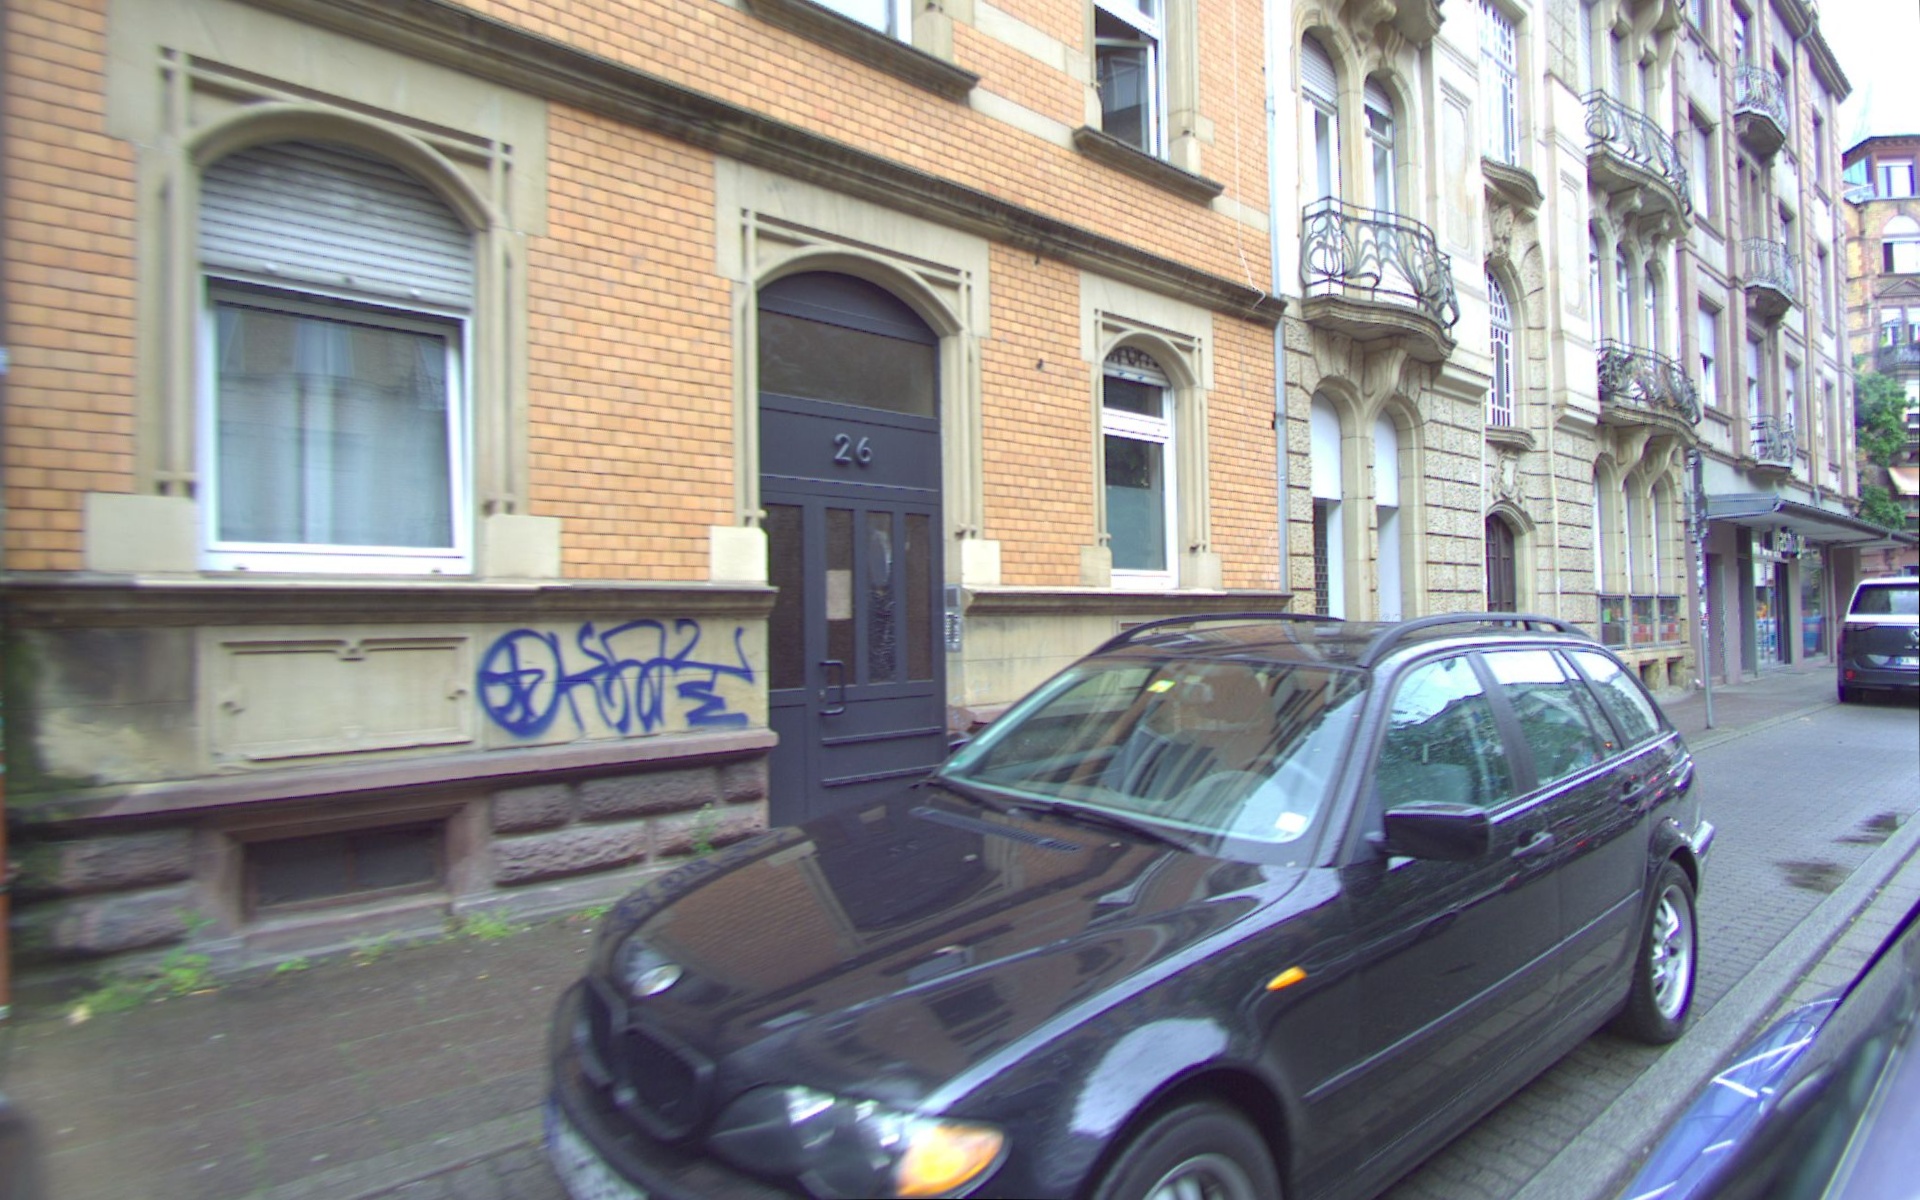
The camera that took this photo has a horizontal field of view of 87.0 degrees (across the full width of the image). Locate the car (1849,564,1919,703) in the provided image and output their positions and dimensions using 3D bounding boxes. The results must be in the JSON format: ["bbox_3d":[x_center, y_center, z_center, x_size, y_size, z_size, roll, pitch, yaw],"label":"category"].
[{"bbox_3d":[15.605,0.456,15.868,5.142,1.963,1.996,-1,0,-43],"label":"car"}]

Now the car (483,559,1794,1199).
[{"bbox_3d":[1.041,0.683,3.336,4.404,1.485,1.790,-3,0,-39],"label":"car"}]
